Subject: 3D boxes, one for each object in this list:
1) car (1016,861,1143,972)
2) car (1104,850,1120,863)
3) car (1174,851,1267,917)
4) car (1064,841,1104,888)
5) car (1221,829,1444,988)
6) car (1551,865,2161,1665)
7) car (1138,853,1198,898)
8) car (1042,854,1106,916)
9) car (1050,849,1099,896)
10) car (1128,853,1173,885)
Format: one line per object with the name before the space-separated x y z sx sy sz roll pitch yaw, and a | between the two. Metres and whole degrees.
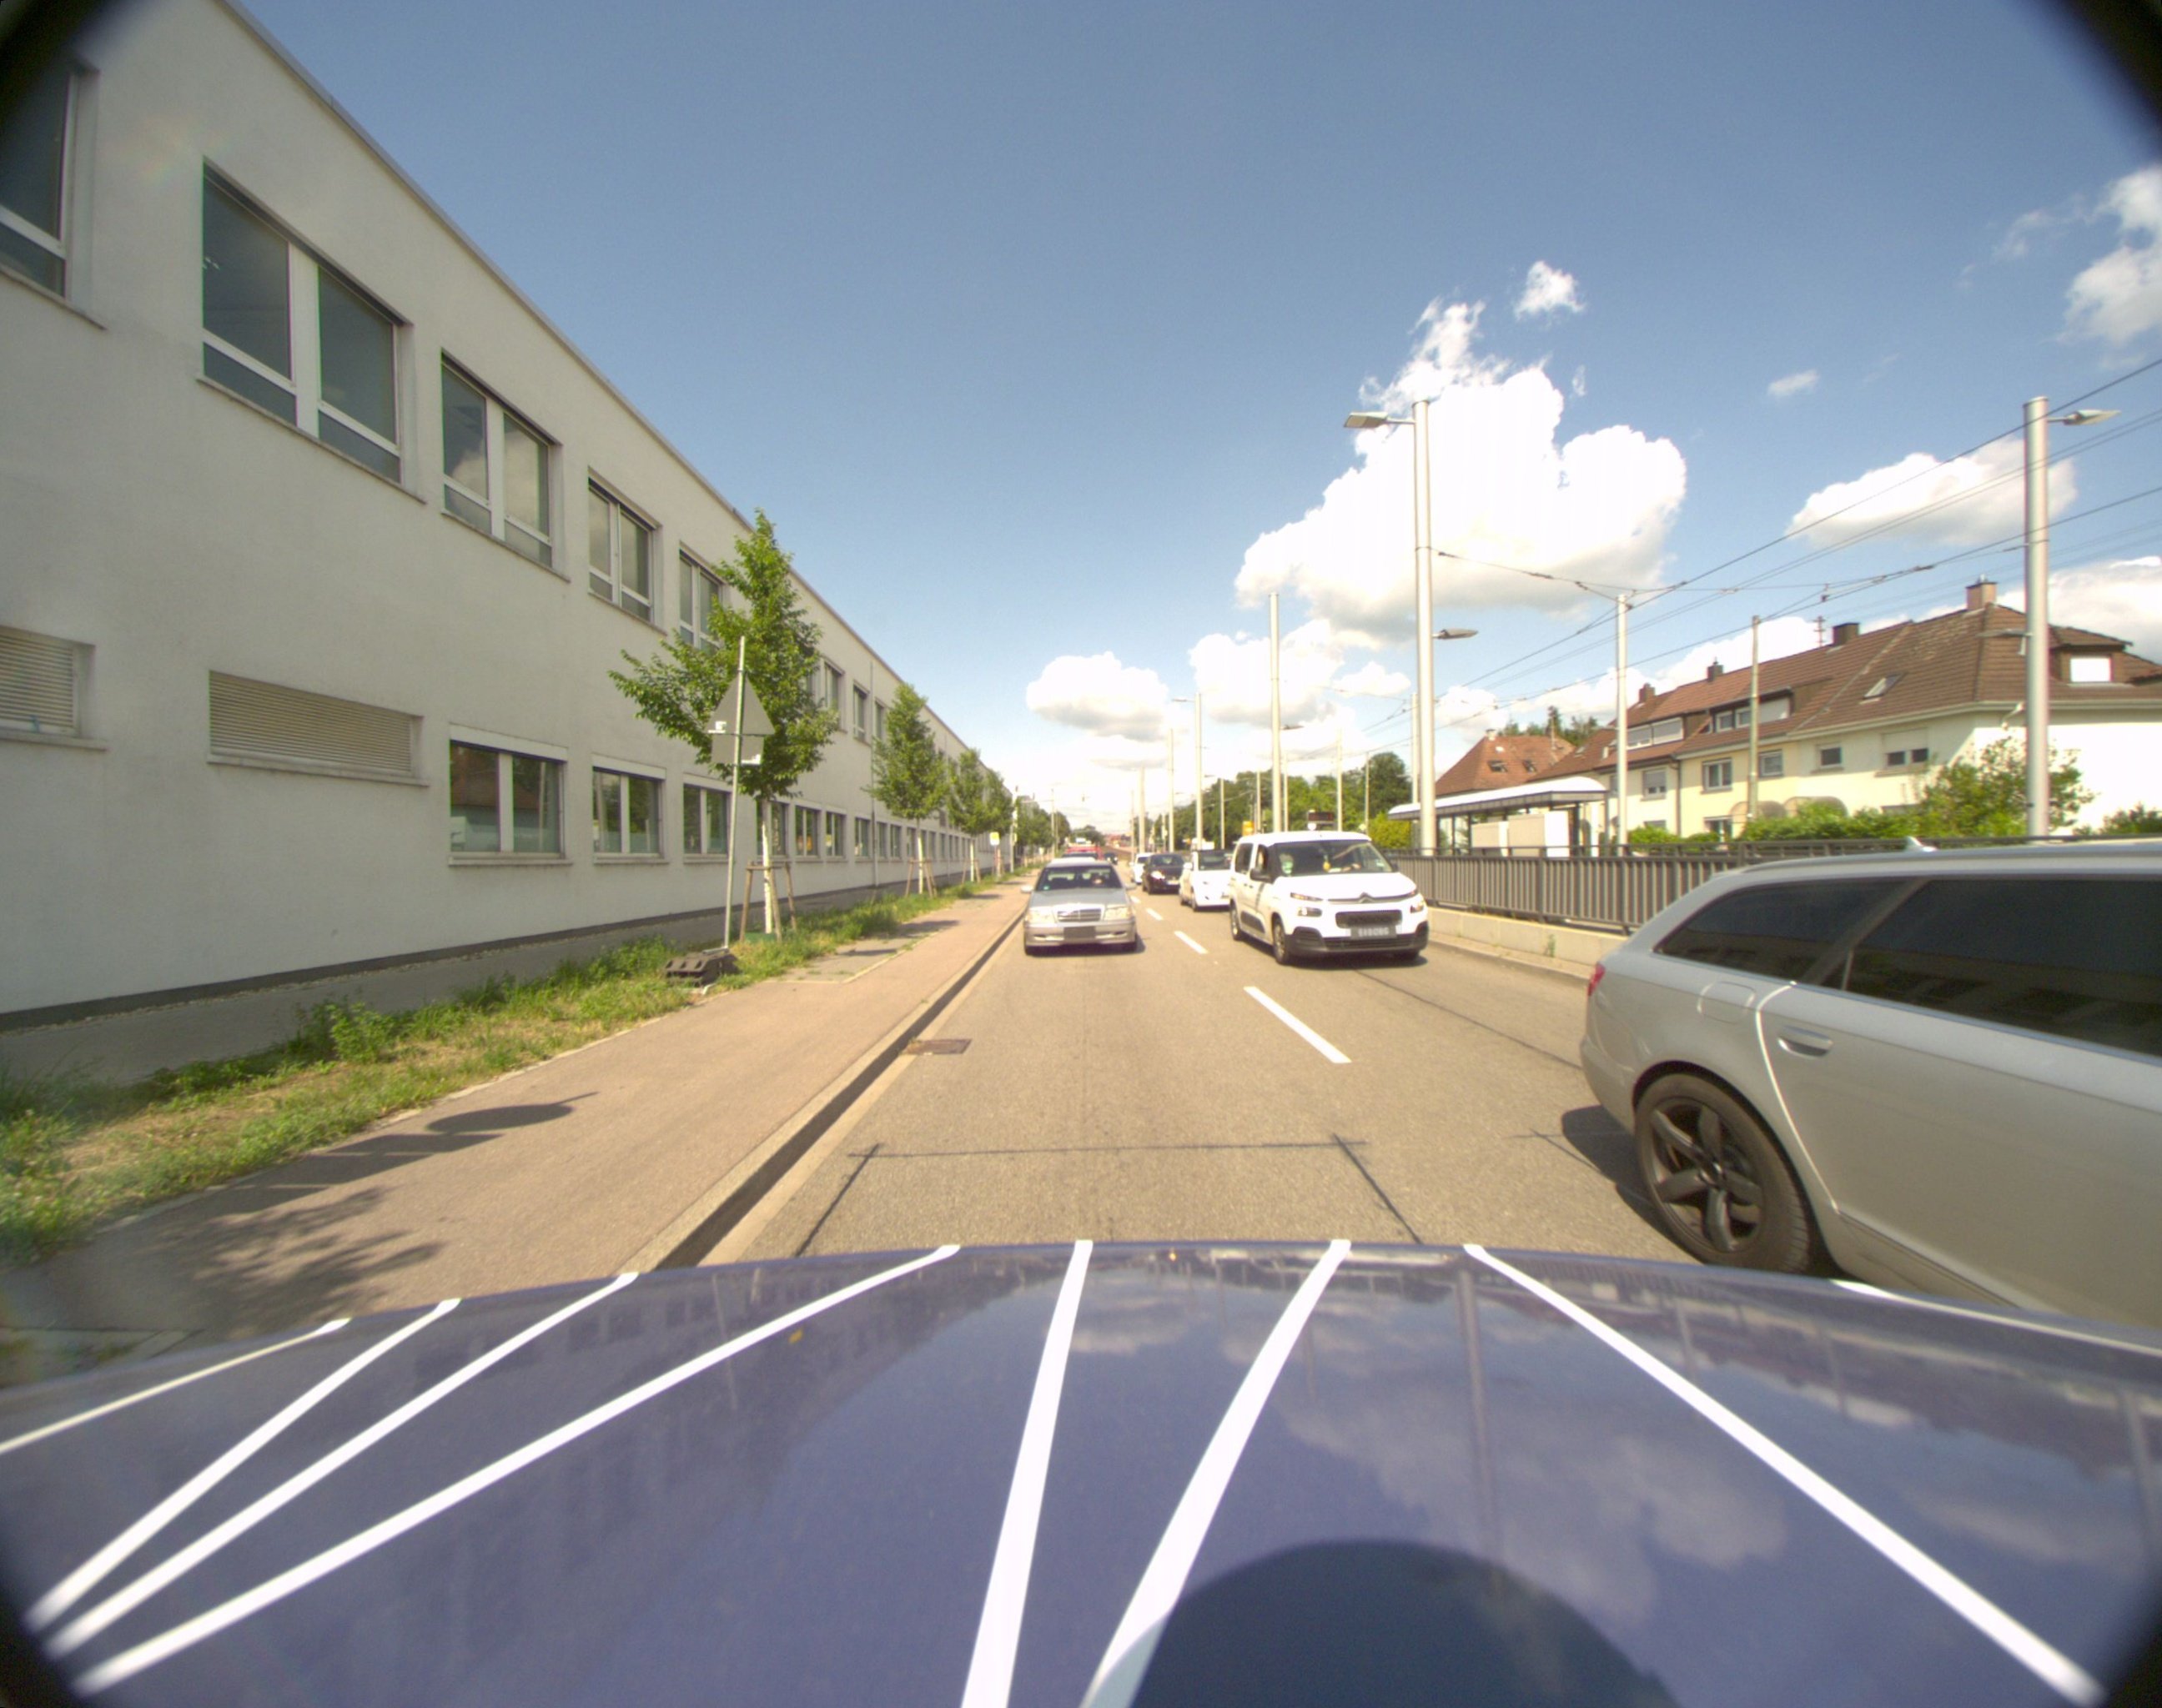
car | -0.008 0.899 12.914 1.725 1.389 4.462 -2 1 0
car | 3.689 0.261 91.025 1.698 1.350 4.498 -2 1 0
car | 3.542 0.714 19.805 1.680 1.495 3.393 -2 0 -1
car | 0.166 0.473 38.244 1.787 2.135 5.168 -2 1 0
car | 3.359 0.608 11.091 1.799 1.805 4.329 -2 1 1
car | 3.010 0.847 1.033 1.799 1.463 4.721 -2 1 0
car | 3.126 0.738 27.949 1.680 1.414 3.557 -2 1 -1
car | -0.184 0.832 22.387 1.664 1.564 3.999 -2 1 0
car | -0.214 0.633 28.590 1.664 1.530 3.999 -2 1 0
car | 3.296 0.685 36.724 1.698 1.350 4.498 -2 1 0
